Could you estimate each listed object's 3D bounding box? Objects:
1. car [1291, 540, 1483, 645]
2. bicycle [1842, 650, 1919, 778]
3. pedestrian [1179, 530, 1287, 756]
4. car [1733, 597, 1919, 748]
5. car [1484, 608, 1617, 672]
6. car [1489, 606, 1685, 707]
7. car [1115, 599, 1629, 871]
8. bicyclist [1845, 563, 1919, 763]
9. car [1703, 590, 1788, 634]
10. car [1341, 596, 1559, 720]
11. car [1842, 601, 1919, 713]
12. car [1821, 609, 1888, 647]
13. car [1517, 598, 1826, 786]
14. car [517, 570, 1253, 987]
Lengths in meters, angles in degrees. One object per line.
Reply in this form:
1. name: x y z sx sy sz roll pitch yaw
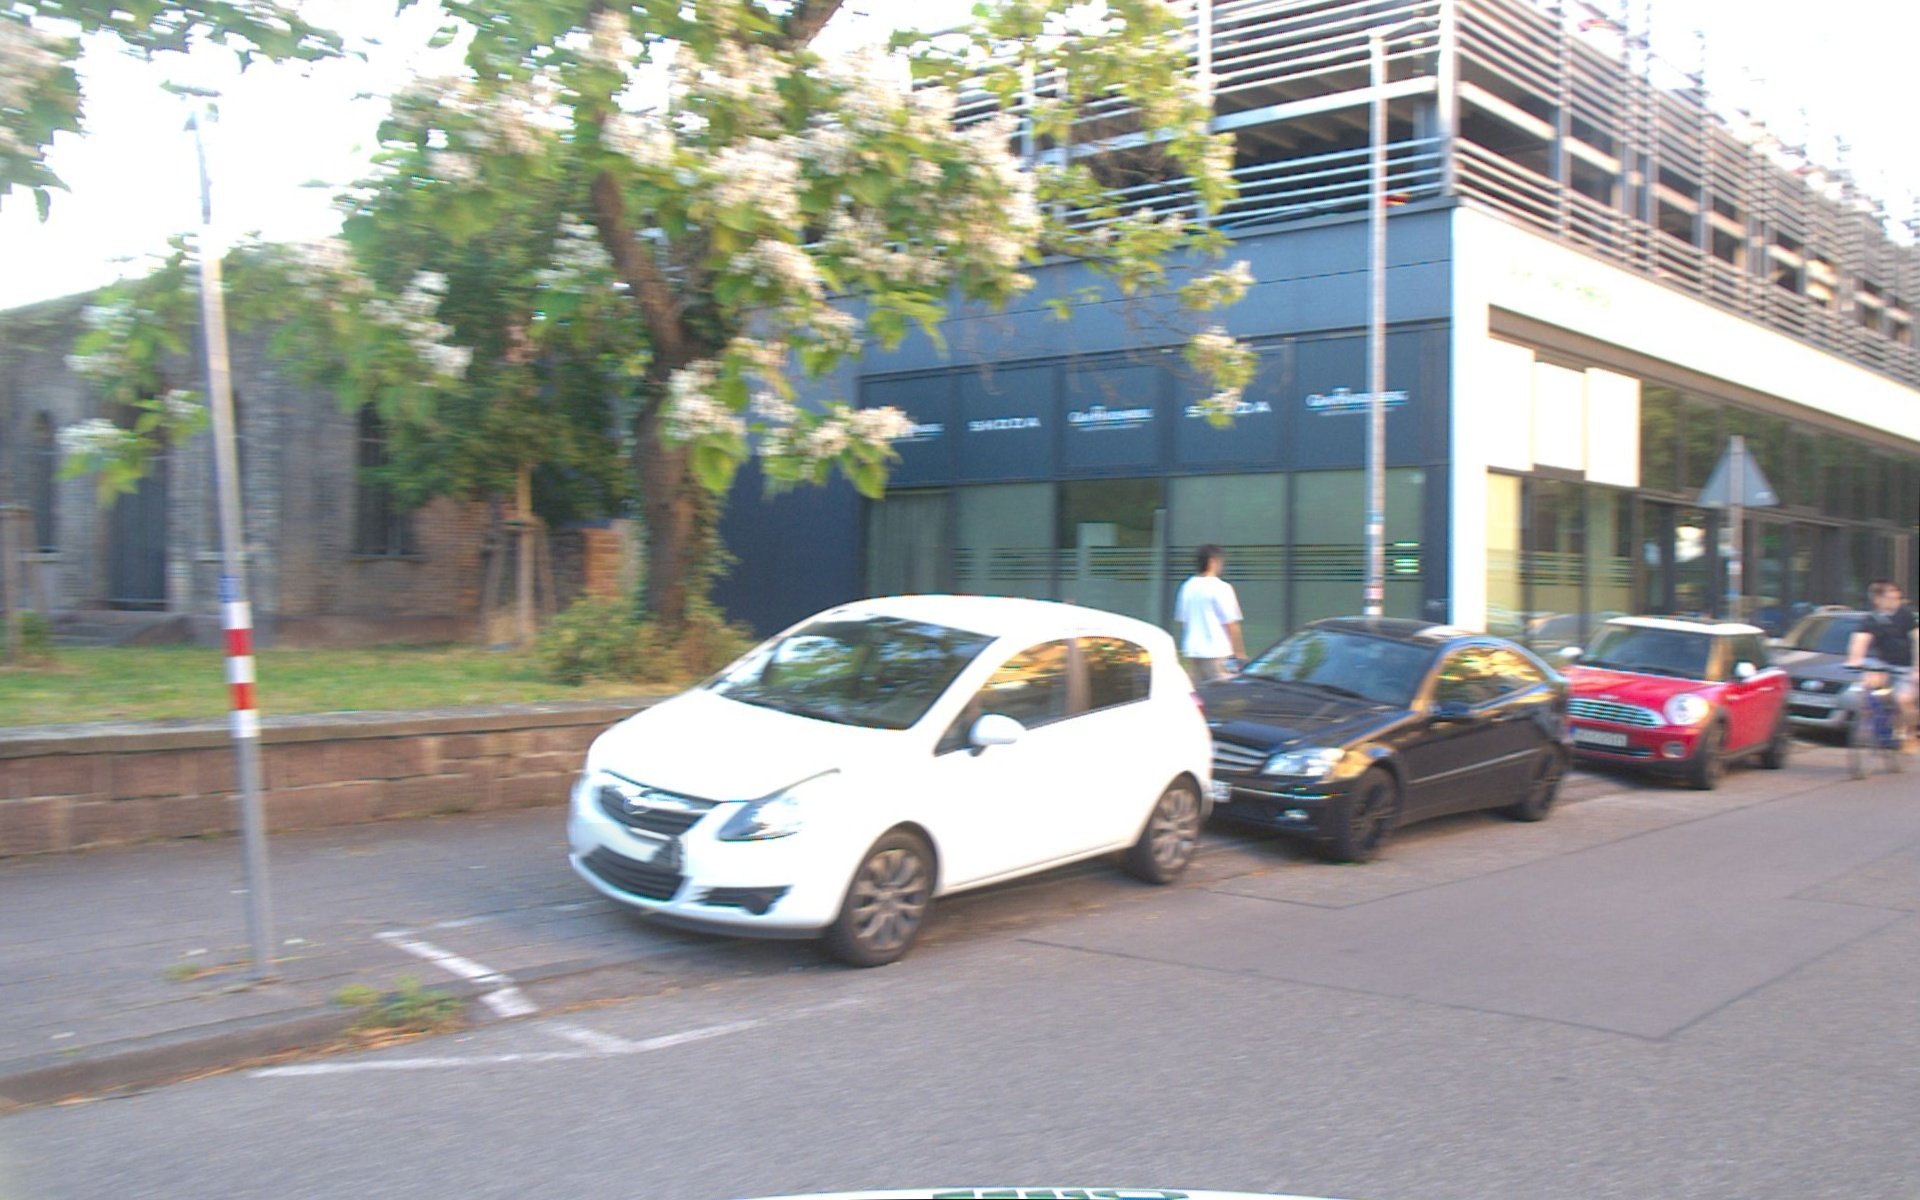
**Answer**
1. car: 7.398 -0.117 28.506 1.673 1.687 3.714 0 0 43
2. bicycle: 8.994 1.048 15.692 0.747 1.116 1.855 -2 -2 39
3. pedestrian: 2.393 0.361 14.508 0.711 1.911 0.616 0 0 45
4. car: 11.104 0.806 20.344 1.640 1.522 3.858 7 5 43
5. car: 14.444 0.933 40.356 1.673 1.459 3.895 0 0 43
6. car: 10.588 0.880 27.798 1.673 1.541 4.165 0 0 43
7. car: 3.122 0.796 11.885 1.639 1.440 4.387 7 5 42
8. bicyclist: 8.987 0.573 15.718 0.845 1.839 1.011 0 0 38
9. car: 24.412 0.350 51.342 1.400 1.277 3.503 0 1 43
10. car: 7.257 0.777 24.297 1.570 1.679 3.852 0 0 43
11. car: 14.314 0.815 23.972 1.704 1.426 3.982 7 5 42
12. car: 31.908 0.970 58.994 1.338 1.277 3.193 0 1 43
13. car: 7.018 0.782 16.108 1.637 1.434 3.907 7 5 39
14. car: -0.158 0.669 8.462 1.635 1.540 3.868 4 3 37
